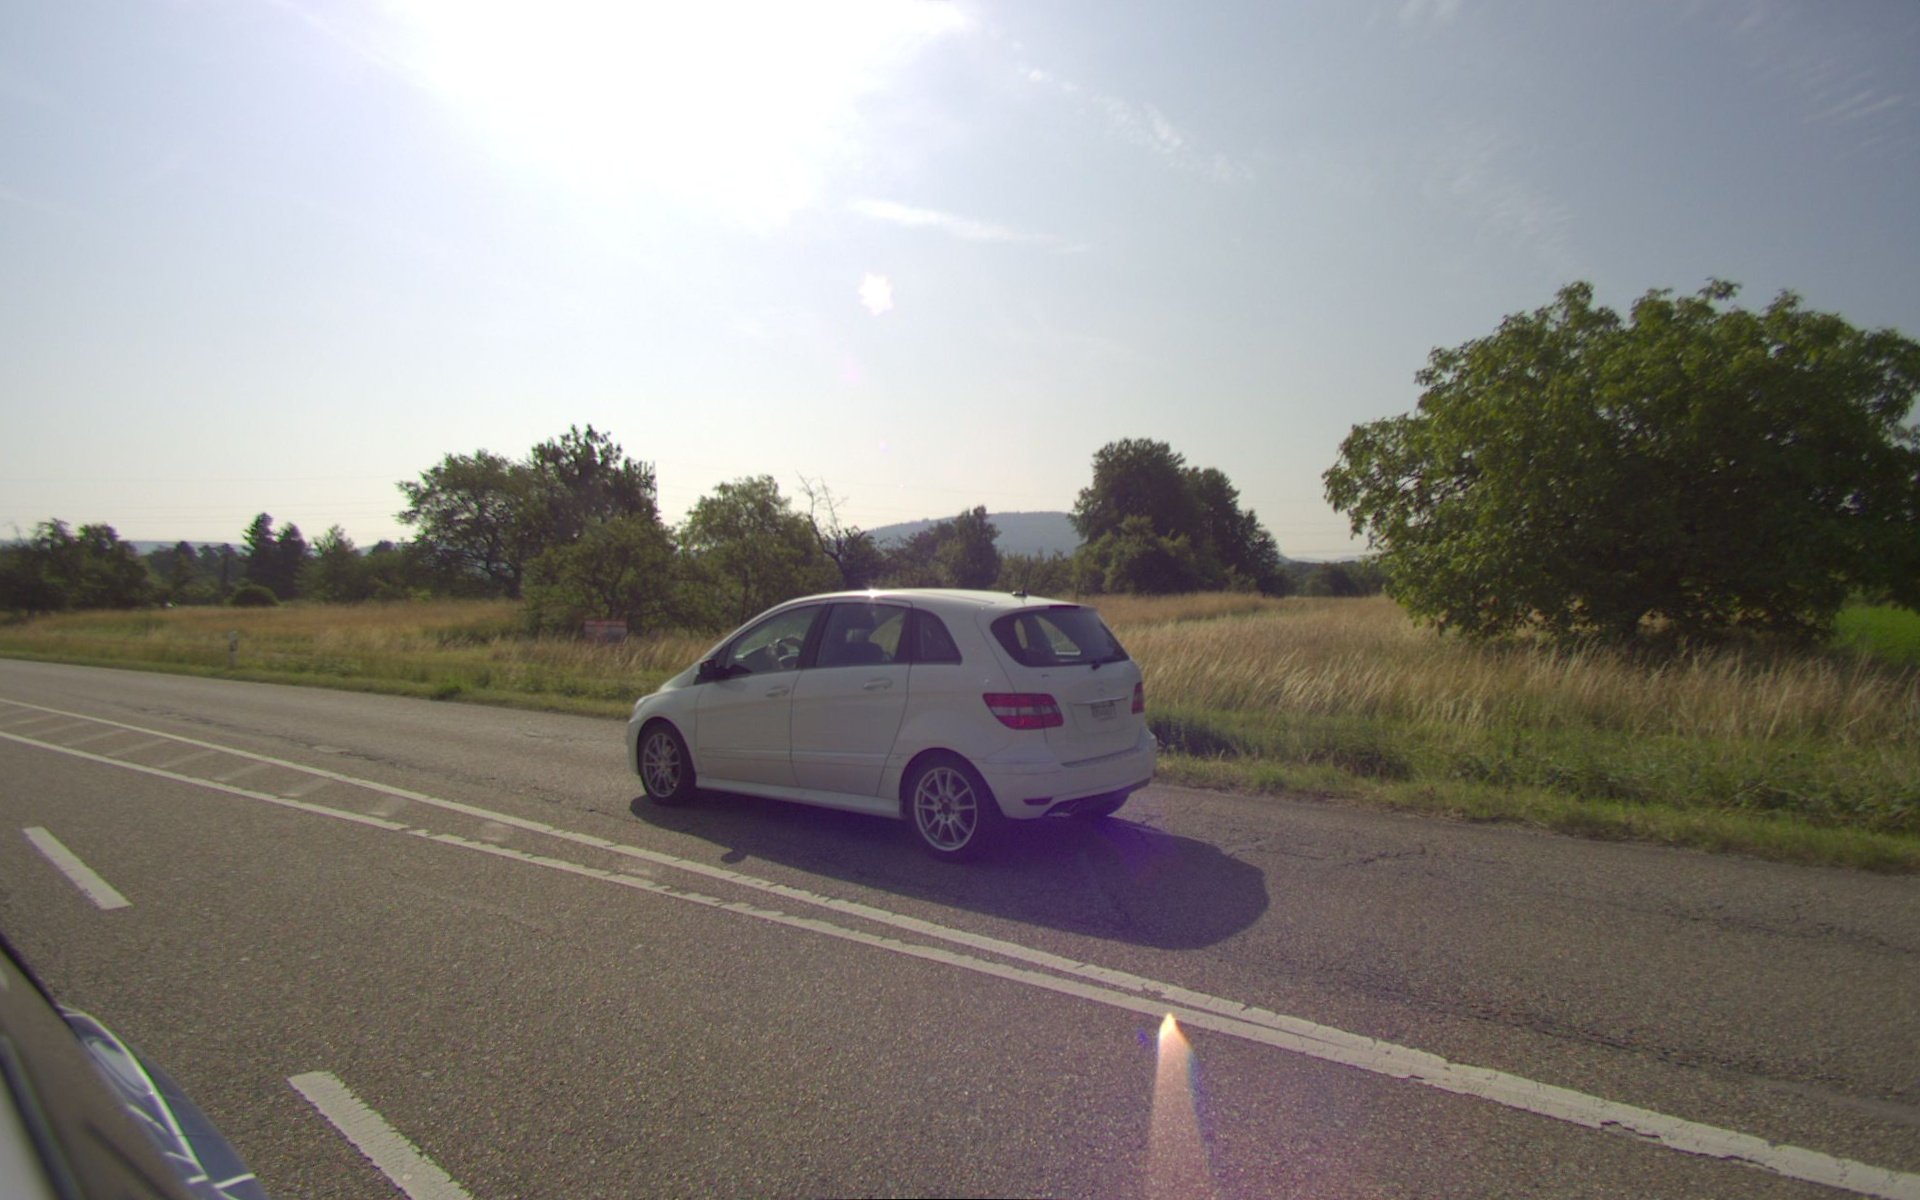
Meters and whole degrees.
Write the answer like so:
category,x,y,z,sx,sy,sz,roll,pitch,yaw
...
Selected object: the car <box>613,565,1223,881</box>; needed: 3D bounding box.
category,x,y,z,sx,sy,sz,roll,pitch,yaw
car,-0.495,0.667,7.179,4.220,1.597,1.794,-1,-2,40
